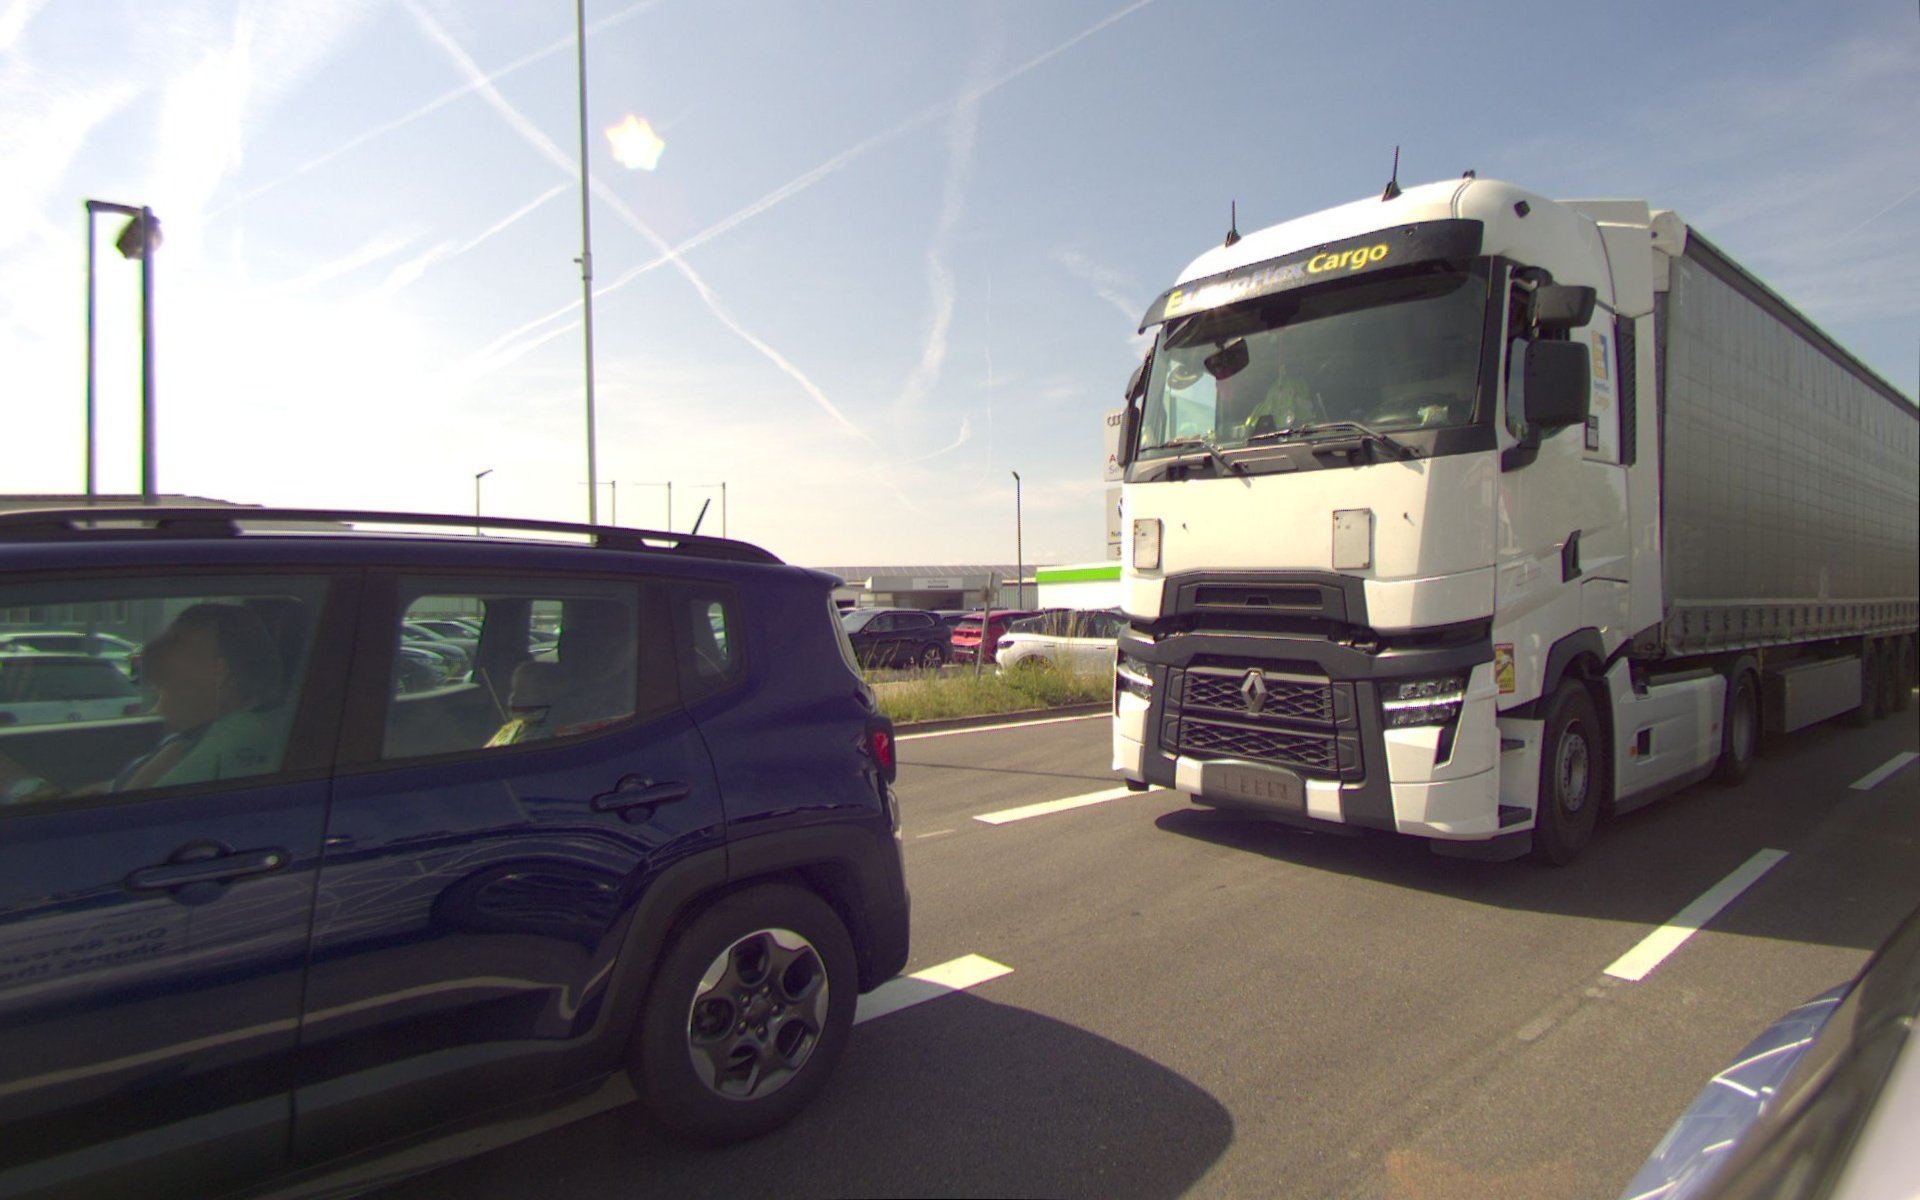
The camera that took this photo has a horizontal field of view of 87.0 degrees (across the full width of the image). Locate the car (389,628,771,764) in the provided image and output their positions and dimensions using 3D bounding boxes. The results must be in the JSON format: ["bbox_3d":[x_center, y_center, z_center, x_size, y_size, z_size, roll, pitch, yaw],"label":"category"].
[{"bbox_3d":[-4.649,1.084,12.466,4.289,1.420,1.729,0,0,18],"label":"car"}]

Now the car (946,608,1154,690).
[{"bbox_3d":[1.723,0.872,19.299,3.623,1.420,1.725,0,0,24],"label":"car"}]

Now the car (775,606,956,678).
[{"bbox_3d":[-2.382,1.003,25.854,4.202,1.678,1.999,0,0,-37],"label":"car"}]

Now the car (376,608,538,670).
[{"bbox_3d":[-15.336,1.159,31.088,4.143,1.777,1.911,0,-1,-15],"label":"car"}]

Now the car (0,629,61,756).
[{"bbox_3d":[-15.470,1.344,14.219,4.157,1.777,1.905,0,-1,-40],"label":"car"}]

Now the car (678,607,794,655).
[{"bbox_3d":[-7.590,1.018,34.368,3.531,1.426,1.562,-1,2,-39],"label":"car"}]

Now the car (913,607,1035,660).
[{"bbox_3d":[0.455,0.971,30.977,3.531,1.426,1.562,-1,2,-39],"label":"car"}]

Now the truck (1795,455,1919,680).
[{"bbox_3d":[20.629,-0.587,20.995,10.939,3.859,2.886,0,0,-38],"label":"truck"}]

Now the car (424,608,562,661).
[{"bbox_3d":[-16.340,1.184,35.621,4.143,1.777,1.911,0,-1,-15],"label":"car"}]

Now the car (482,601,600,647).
[{"bbox_3d":[-16.771,0.943,40.701,4.143,1.777,1.911,0,-1,-14],"label":"car"}]

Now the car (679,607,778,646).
[{"bbox_3d":[-10.167,1.124,44.551,3.895,1.638,1.708,0,0,-37],"label":"car"}]

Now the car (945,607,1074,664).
[{"bbox_3d":[1.442,0.954,28.907,3.531,1.426,1.562,-1,2,-39],"label":"car"}]

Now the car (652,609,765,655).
[{"bbox_3d":[-9.705,1.201,39.178,3.895,1.638,1.708,0,0,-37],"label":"car"}]

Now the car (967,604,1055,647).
[{"bbox_3d":[2.063,1.005,41.623,1.721,1.672,3.651,0,-1,-35],"label":"car"}]

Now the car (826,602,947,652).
[{"bbox_3d":[-2.550,0.912,35.454,3.894,1.638,1.709,0,0,-36],"label":"car"}]

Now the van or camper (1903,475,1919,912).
[{"bbox_3d":[7.089,0.432,5.625,5.195,2.039,1.998,0,-1,-39],"label":"van or camper"}]

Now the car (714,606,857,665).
[{"bbox_3d":[-5.212,1.005,30.345,3.895,1.638,1.708,0,0,-37],"label":"car"}]

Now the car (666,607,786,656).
[{"bbox_3d":[-8.484,1.104,36.839,3.895,1.638,1.708,0,0,-37],"label":"car"}]

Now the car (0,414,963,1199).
[{"bbox_3d":[-2.065,0.527,2.522,3.930,1.706,1.822,0,1,-41],"label":"car"}]

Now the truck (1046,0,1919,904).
[{"bbox_3d":[7.828,-0.842,10.908,16.409,4.320,2.896,0,0,-39],"label":"truck"}]

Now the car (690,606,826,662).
[{"bbox_3d":[-6.366,1.035,32.052,3.895,1.638,1.708,0,0,-37],"label":"car"}]

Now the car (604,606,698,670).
[{"bbox_3d":[-8.790,1.007,28.571,1.959,1.638,4.006,0,0,-26],"label":"car"}]

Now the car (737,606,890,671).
[{"bbox_3d":[-3.983,1.003,27.754,3.756,1.638,1.857,0,0,-37],"label":"car"}]
